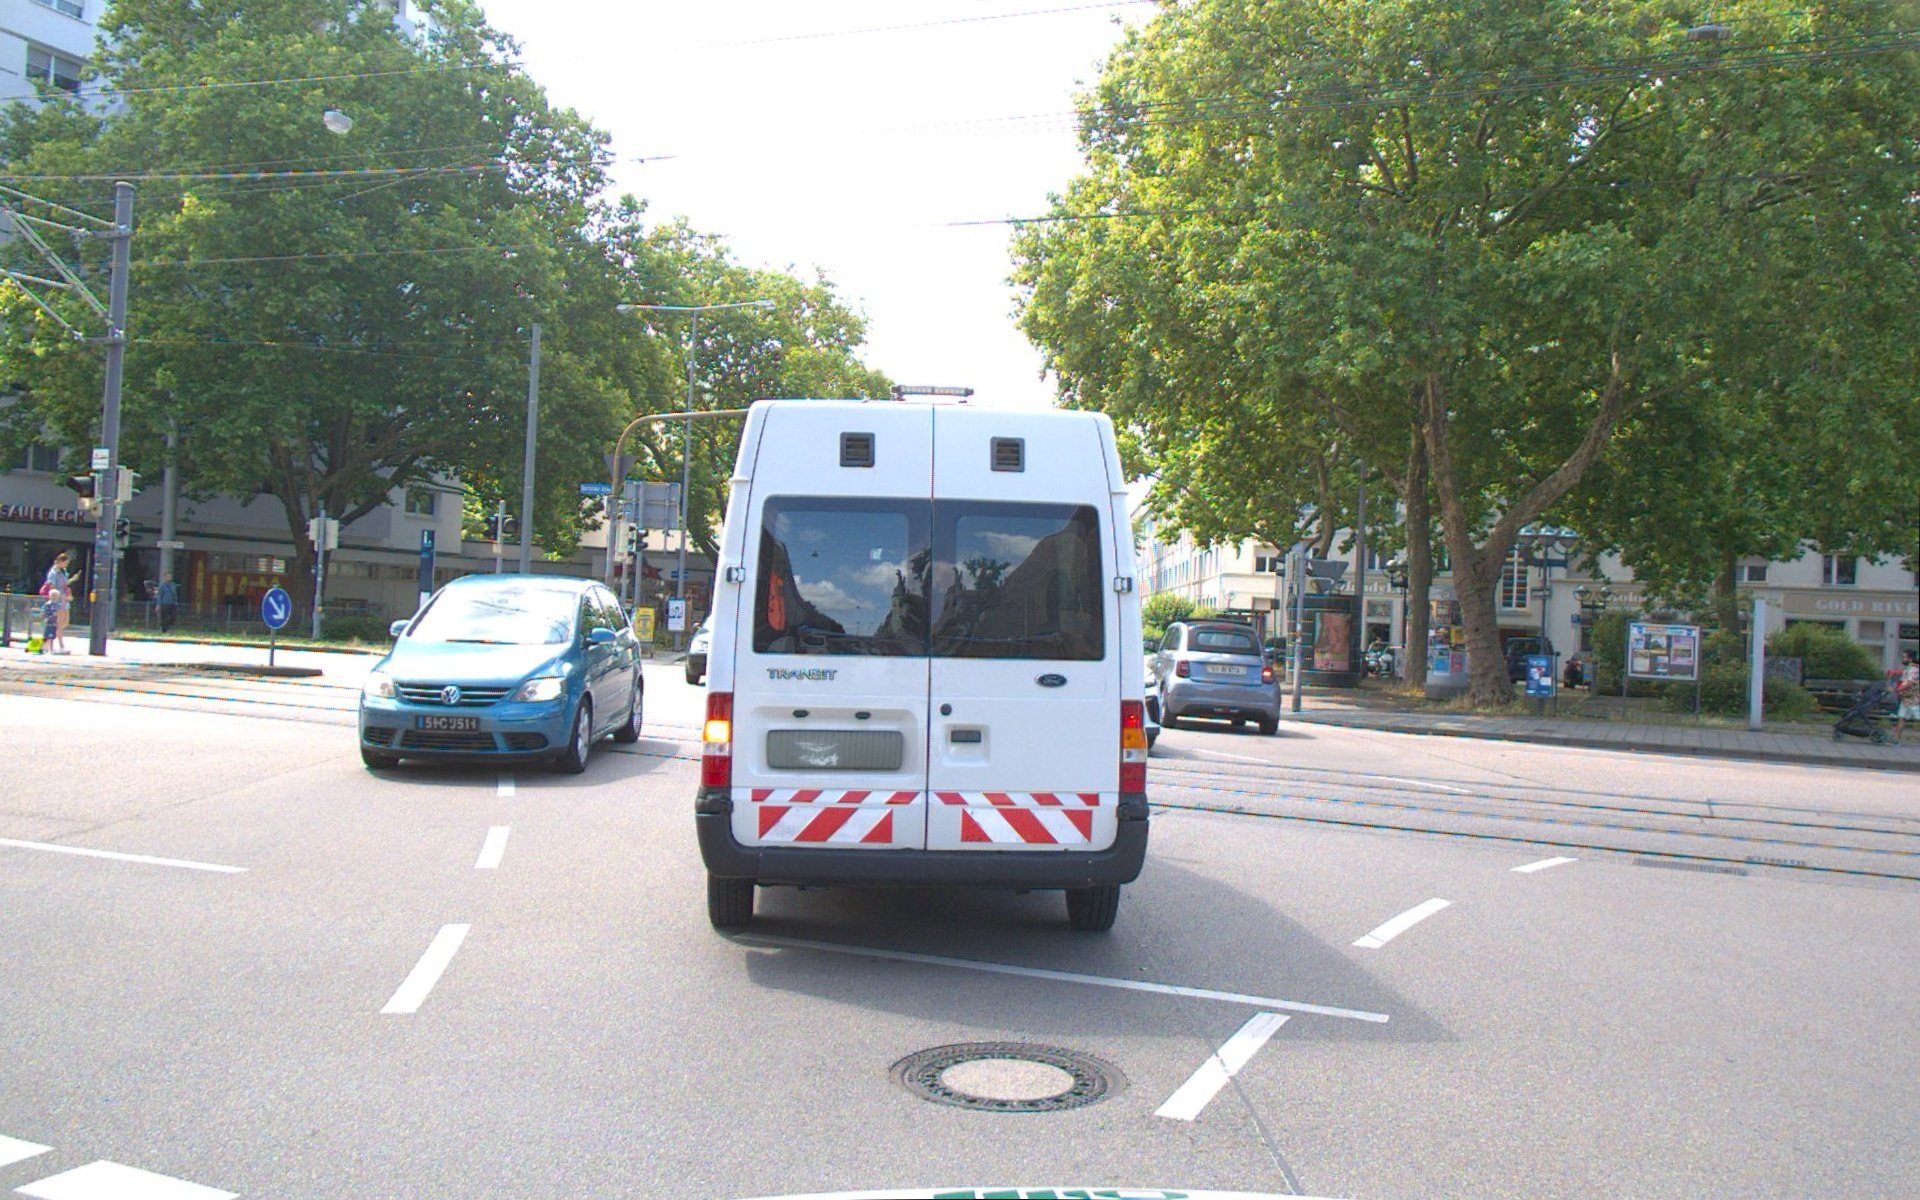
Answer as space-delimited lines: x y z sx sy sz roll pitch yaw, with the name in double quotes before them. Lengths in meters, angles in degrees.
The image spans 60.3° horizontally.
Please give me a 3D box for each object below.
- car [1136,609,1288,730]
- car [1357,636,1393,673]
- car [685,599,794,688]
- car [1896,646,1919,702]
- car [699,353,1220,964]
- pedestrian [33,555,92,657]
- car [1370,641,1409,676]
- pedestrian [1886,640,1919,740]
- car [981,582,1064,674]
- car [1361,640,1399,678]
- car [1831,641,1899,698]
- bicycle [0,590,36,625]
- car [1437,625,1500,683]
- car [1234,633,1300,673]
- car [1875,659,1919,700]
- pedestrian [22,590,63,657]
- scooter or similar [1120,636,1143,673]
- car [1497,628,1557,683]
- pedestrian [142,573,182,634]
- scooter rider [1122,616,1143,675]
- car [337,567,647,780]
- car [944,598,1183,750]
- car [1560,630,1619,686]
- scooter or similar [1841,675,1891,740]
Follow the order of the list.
"car" 3.629 0.960 24.341 1.657 1.565 3.468 2 0 0
"car" 20.518 2.685 81.750 1.435 1.695 3.067 2 -1 19
"car" -3.898 0.732 29.767 1.679 1.458 3.815 1 0 -4
"car" 36.949 2.819 62.696 1.953 2.049 3.999 2 -1 22
"car" -0.207 0.245 8.969 2.007 2.373 4.709 2 0 -6
"pedestrian" -15.336 0.103 28.267 0.663 1.695 0.623 2 -1 39
"car" 18.315 2.485 70.506 1.434 1.413 3.237 2 -1 16
"pedestrian" 16.414 1.542 28.293 0.902 1.674 0.570 2 -1 25
"car" 1.909 0.854 52.614 2.077 2.687 6.325 2 0 -2
"car" 16.911 2.365 66.559 1.434 1.413 3.069 2 -1 15
"car" 34.884 2.654 63.831 1.954 2.049 3.997 2 -1 25
"bicycle" -29.080 0.209 50.192 1.712 1.027 0.526 3 -1 -40
"car" 21.227 2.252 68.992 1.954 2.221 4.255 2 -1 24
"car" 13.528 2.334 72.594 1.986 1.628 4.538 2 -1 22
"car" 41.090 3.443 72.216 1.704 1.666 3.996 2 -1 25
"pedestrian" -15.300 0.391 27.570 0.428 1.082 0.418 2 -1 38
"scooter or similar" 5.448 1.732 52.492 0.538 1.110 1.291 2 -1 -1
"car" 23.475 2.290 68.348 1.954 2.112 3.998 2 -1 24
"pedestrian" -21.974 0.099 45.533 0.766 1.626 0.535 2 -1 21
"scooter rider" 5.475 1.428 52.526 0.515 1.843 0.649 2 -1 -1
"car" -3.860 0.561 14.308 1.712 1.567 3.929 1 0 -3
"car" 1.074 0.774 19.316 1.782 1.532 4.120 2 0 -11
"car" 25.548 2.356 67.036 1.954 2.112 3.998 2 -1 24
"scooter or similar" 15.679 1.855 28.638 0.692 1.074 0.490 2 -1 25
